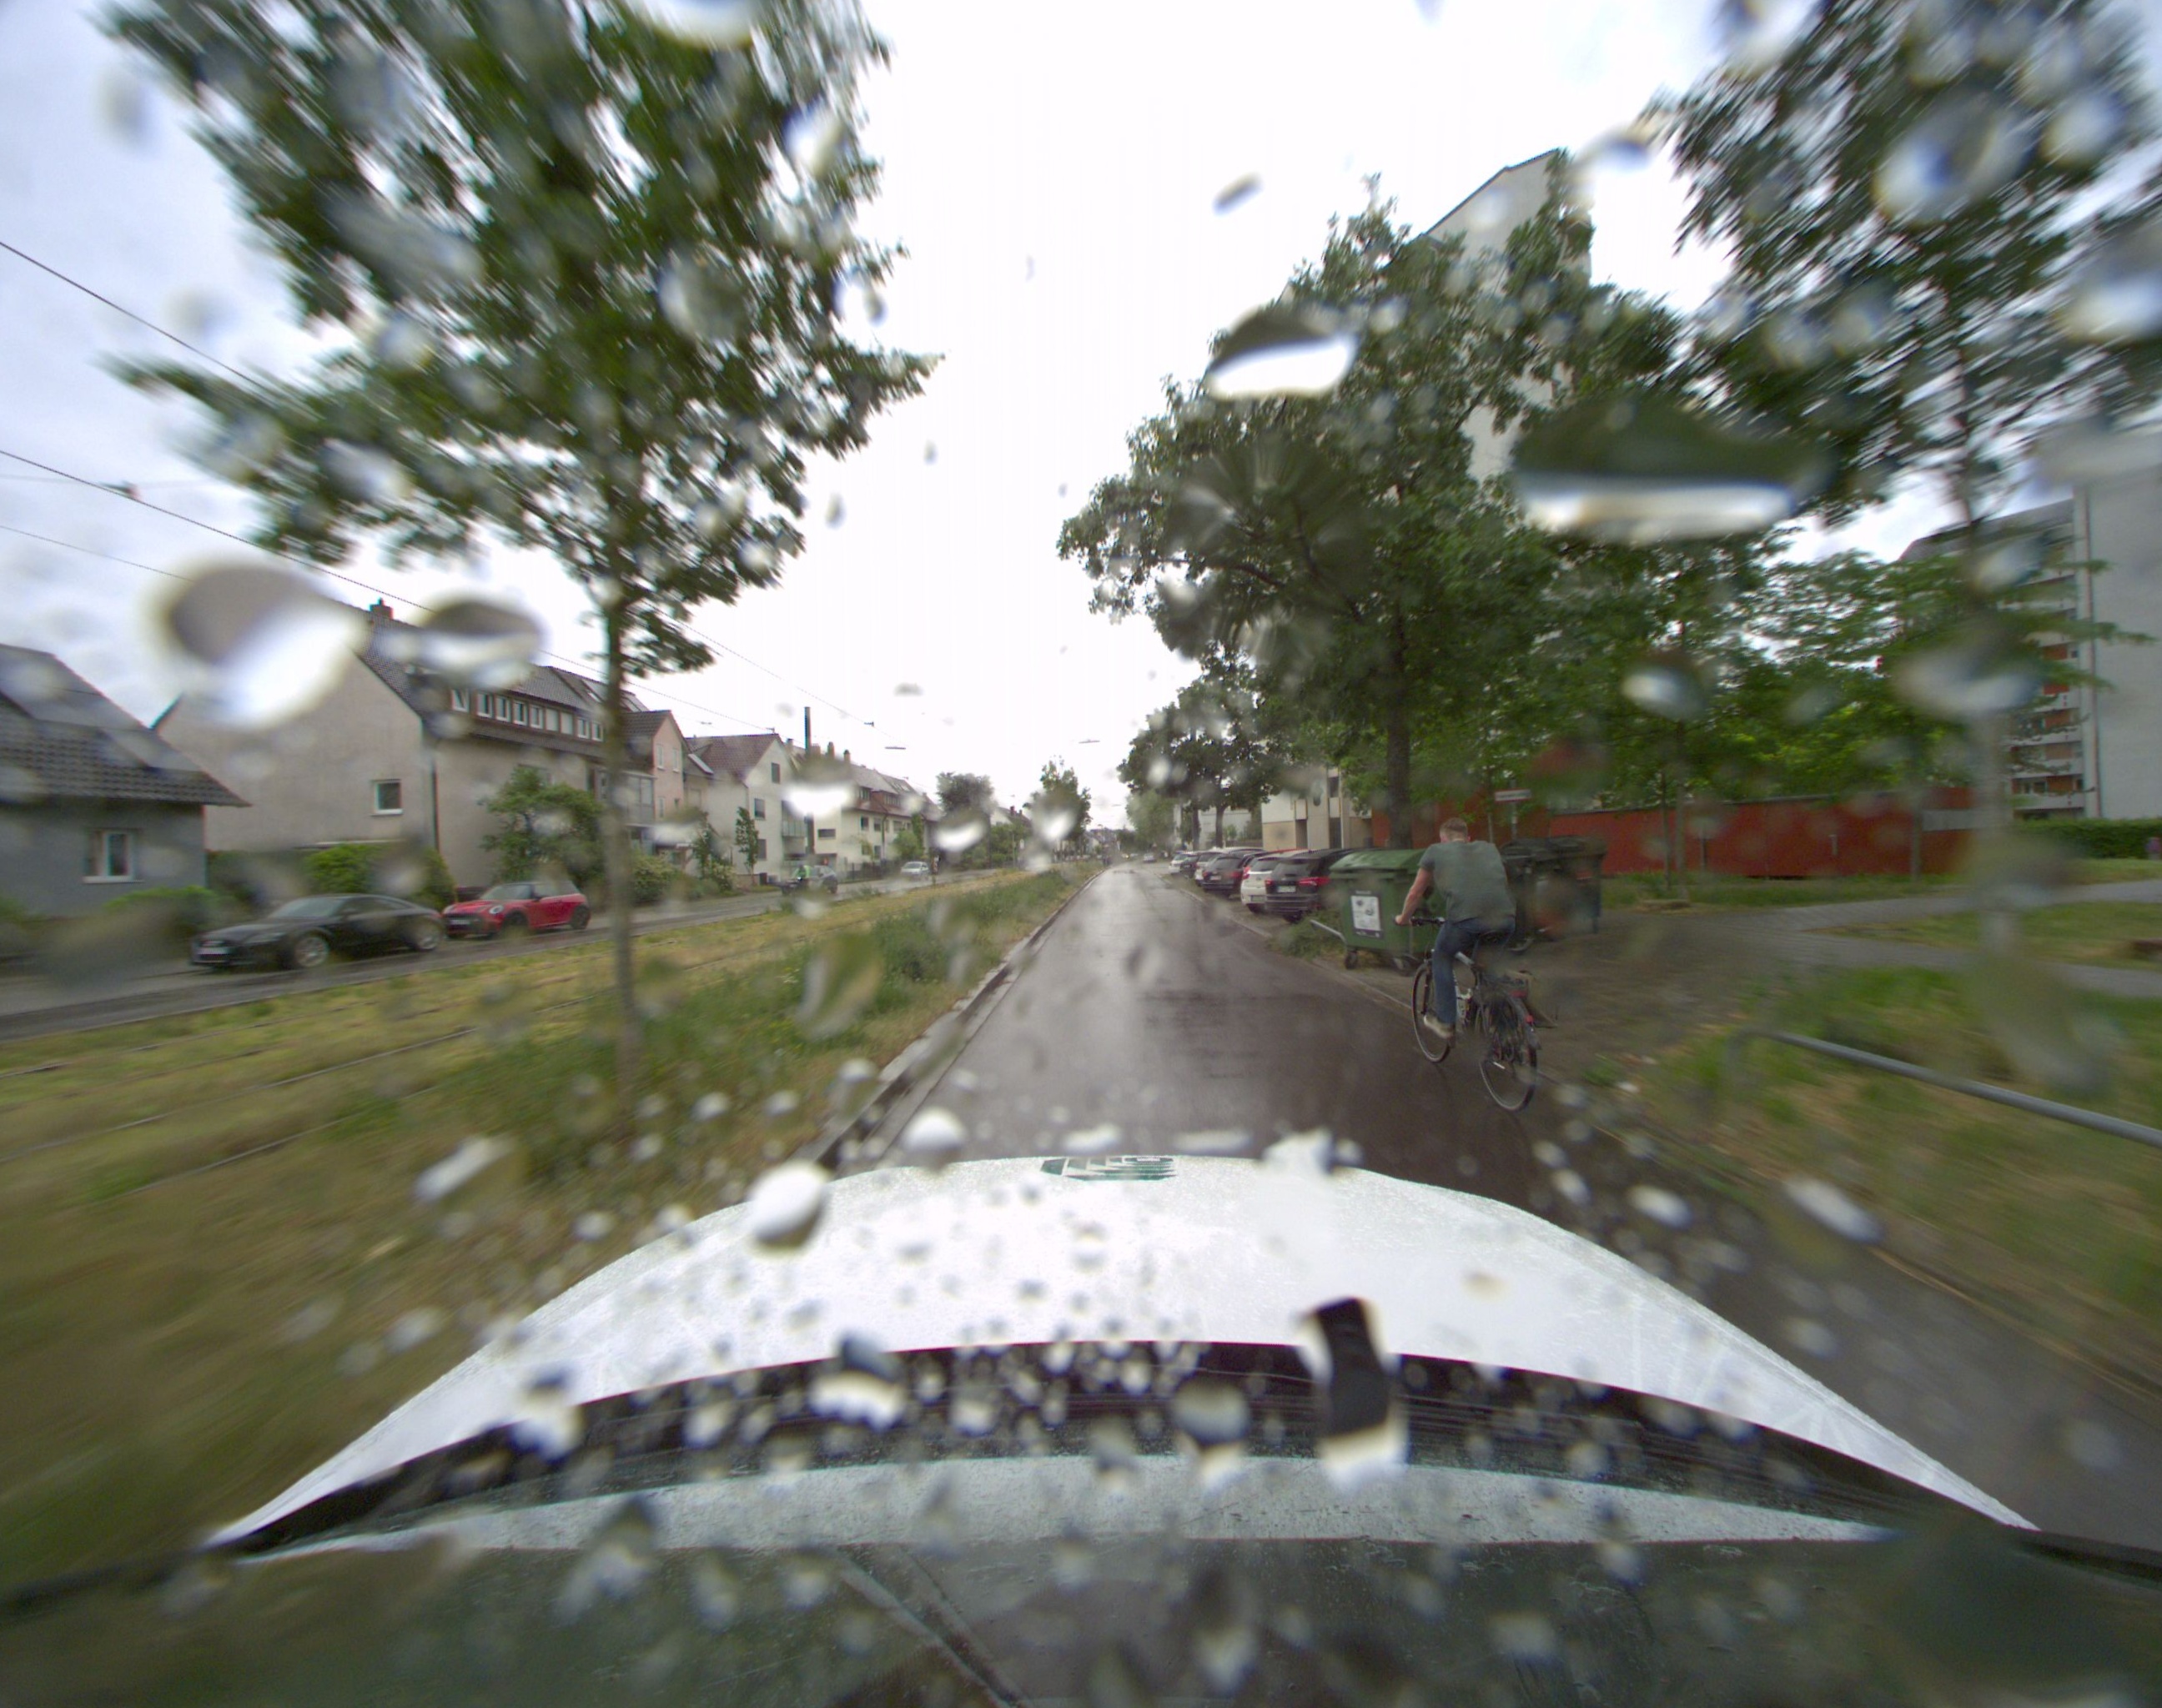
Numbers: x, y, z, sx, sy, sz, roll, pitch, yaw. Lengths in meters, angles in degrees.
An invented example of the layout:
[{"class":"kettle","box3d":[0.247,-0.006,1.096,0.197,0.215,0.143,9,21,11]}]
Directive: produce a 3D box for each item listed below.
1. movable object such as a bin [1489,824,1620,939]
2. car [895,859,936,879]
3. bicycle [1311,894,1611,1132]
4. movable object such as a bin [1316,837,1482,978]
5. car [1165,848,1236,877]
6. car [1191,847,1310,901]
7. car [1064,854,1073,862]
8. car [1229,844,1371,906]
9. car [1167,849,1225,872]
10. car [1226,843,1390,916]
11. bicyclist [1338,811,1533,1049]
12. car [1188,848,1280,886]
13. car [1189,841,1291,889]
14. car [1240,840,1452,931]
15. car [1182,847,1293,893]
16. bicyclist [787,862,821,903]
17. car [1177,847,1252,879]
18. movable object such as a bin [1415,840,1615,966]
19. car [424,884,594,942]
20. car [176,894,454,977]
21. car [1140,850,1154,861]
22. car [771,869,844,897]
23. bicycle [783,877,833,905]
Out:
[{"class":"movable object such as a bin","box3d":[6.878,0.375,11.856,1.250,1.520,1.079,-3,0,-26]},{"class":"car","box3d":[-13.068,1.158,64.487,1.888,1.469,4.693,0,0,5]},{"class":"bicycle","box3d":[2.386,0.908,5.599,0.807,1.096,2.516,-3,0,-1]},{"class":"movable object such as a bin","box3d":[3.857,0.605,9.994,1.129,1.457,1.392,-8,2,-19]},{"class":"car","box3d":[6.917,0.485,47.114,4.058,1.513,1.568,-3,0,-35]},{"class":"car","box3d":[5.423,0.599,25.764,4.063,1.443,1.566,-3,0,-42]},{"class":"car","box3d":[-2.809,0.839,183.354,1.836,1.672,4.002,-3,0,2]},{"class":"car","box3d":[6.290,0.550,23.251,4.056,1.519,1.569,-3,0,-33]},{"class":"car","box3d":[8.095,0.443,57.138,4.058,1.369,1.568,-3,0,-35]},{"class":"car","box3d":[5.653,0.568,20.122,4.056,1.519,1.569,-3,0,-33]},{"class":"bicyclist","box3d":[2.359,0.466,5.566,0.807,1.432,1.060,-3,0,-1]},{"class":"car","box3d":[6.793,0.541,35.926,4.058,1.445,1.568,-3,0,-35]},{"class":"car","box3d":[6.409,0.431,32.612,4.058,1.703,1.568,-3,0,-35]},{"class":"car","box3d":[5.506,0.575,16.770,4.243,1.519,1.858,-3,0,-33]},{"class":"car","box3d":[5.767,0.547,29.824,4.058,1.443,1.568,-3,0,-35]},{"class":"bicyclist","box3d":[-12.056,1.216,35.493,1.014,1.685,1.092,-3,0,1]},{"class":"car","box3d":[7.266,0.461,44.215,4.058,1.541,1.568,-3,0,-35]},{"class":"movable object such as a bin","box3d":[5.428,0.562,10.273,1.687,1.326,1.392,-5,1,-20]},{"class":"car","box3d":[-14.970,1.505,21.602,1.668,1.244,3.857,0,0,2]},{"class":"car","box3d":[-15.088,1.539,16.416,1.657,1.244,4.073,0,0,2]},{"class":"car","box3d":[9.455,0.206,117.237,1.826,1.586,4.002,-3,0,2]},{"class":"car","box3d":[-14.107,1.463,42.321,1.888,1.244,4.693,0,0,5]},{"class":"bicycle","box3d":[-12.040,1.601,36.111,1.014,1.027,3.198,-3,0,2]}]
